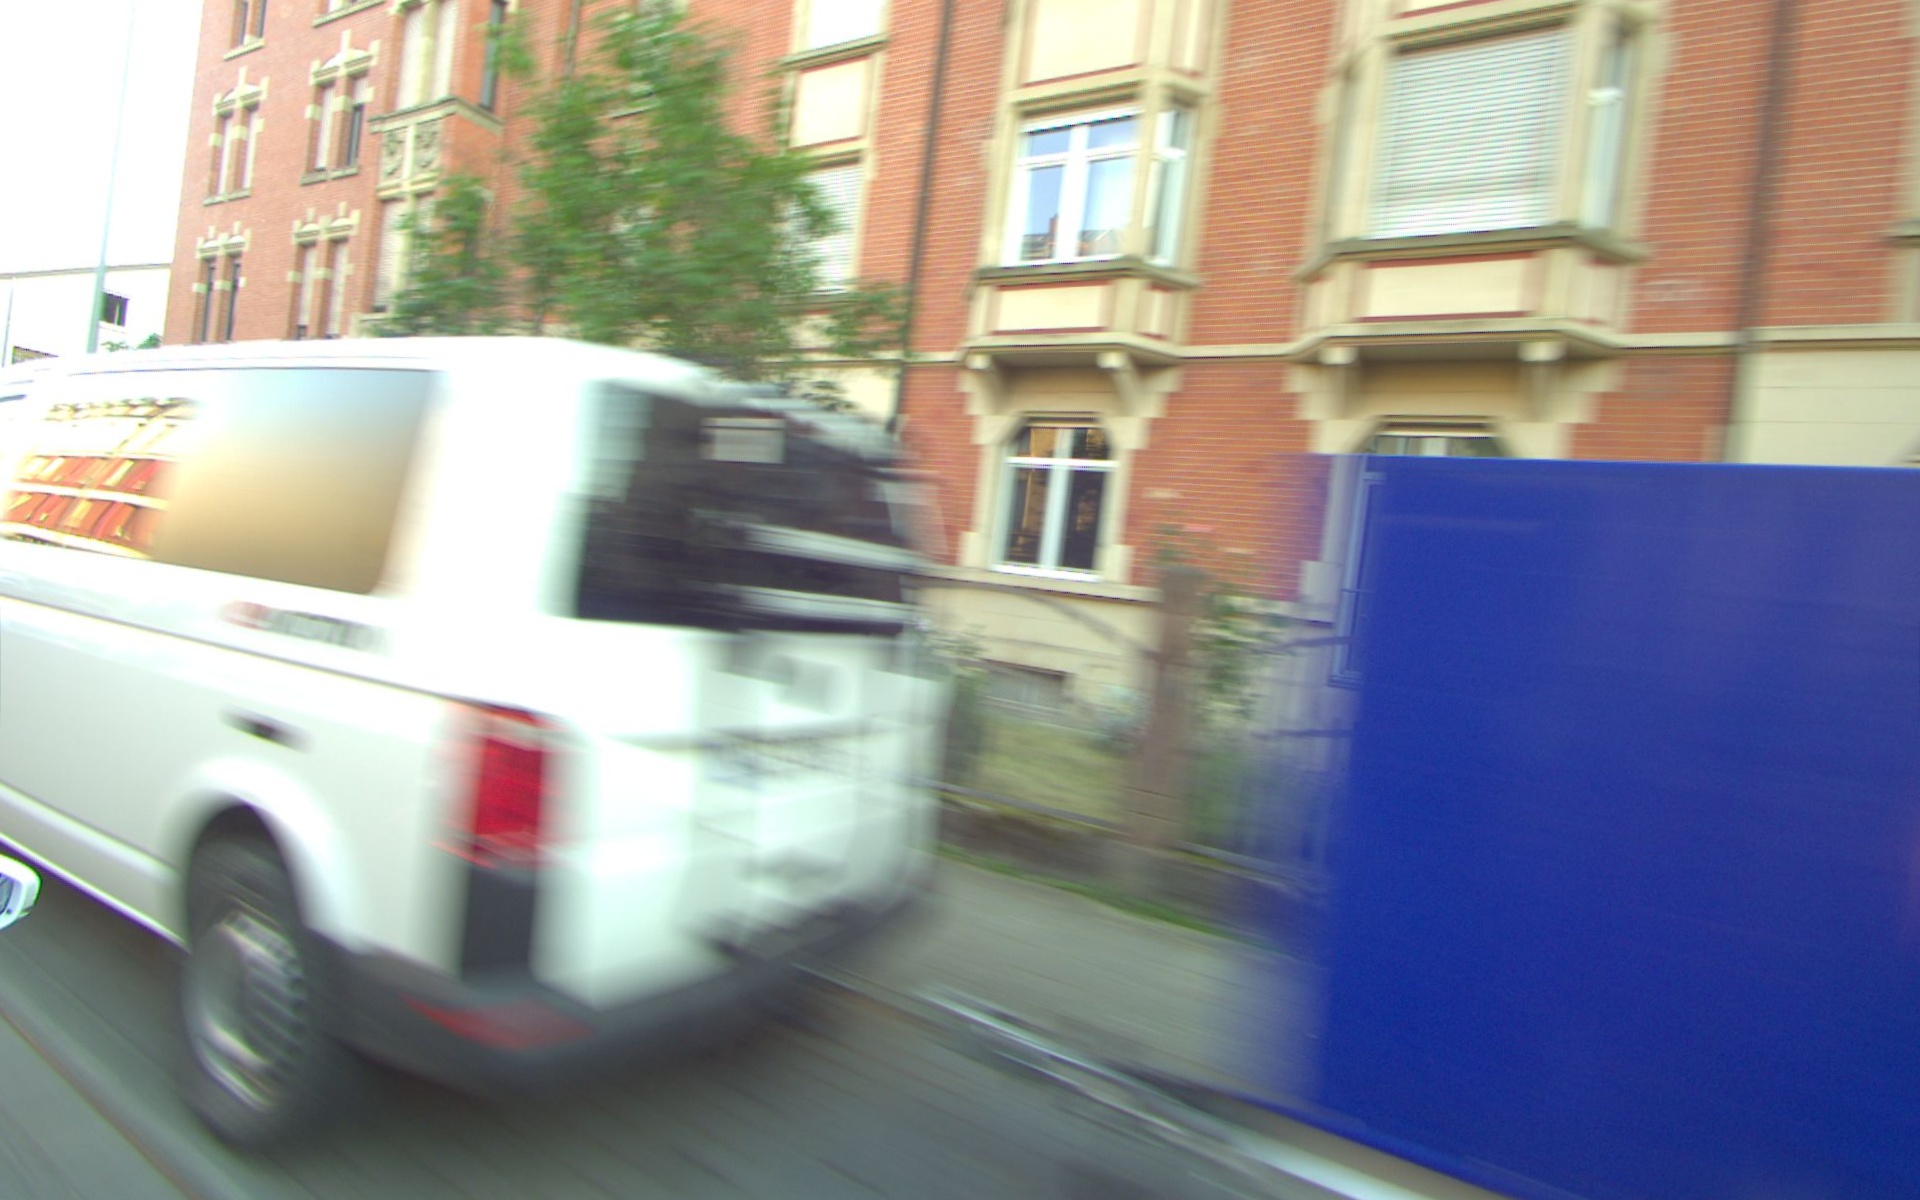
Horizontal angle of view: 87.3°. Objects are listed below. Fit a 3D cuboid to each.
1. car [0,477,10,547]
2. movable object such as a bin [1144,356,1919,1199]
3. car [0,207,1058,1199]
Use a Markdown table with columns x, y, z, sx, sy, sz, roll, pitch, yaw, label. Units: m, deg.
| x | y | z | sx | sy | sz | roll | pitch | yaw | label |
| --- | --- | --- | --- | --- | --- | --- | --- | --- | --- |
| -22.035 | -2.095 | 21.208 | 4.349 | 1.442 | 1.728 | 7 | 1 | 31 | car |
| 1.640 | 0.760 | 1.530 | 2.286 | 1.902 | 1.413 | 7 | 2 | 31 | movable object such as a bin |
| -2.585 | 0.125 | 3.908 | 5.451 | 2.065 | 1.863 | 7 | 1 | 31 | car |
